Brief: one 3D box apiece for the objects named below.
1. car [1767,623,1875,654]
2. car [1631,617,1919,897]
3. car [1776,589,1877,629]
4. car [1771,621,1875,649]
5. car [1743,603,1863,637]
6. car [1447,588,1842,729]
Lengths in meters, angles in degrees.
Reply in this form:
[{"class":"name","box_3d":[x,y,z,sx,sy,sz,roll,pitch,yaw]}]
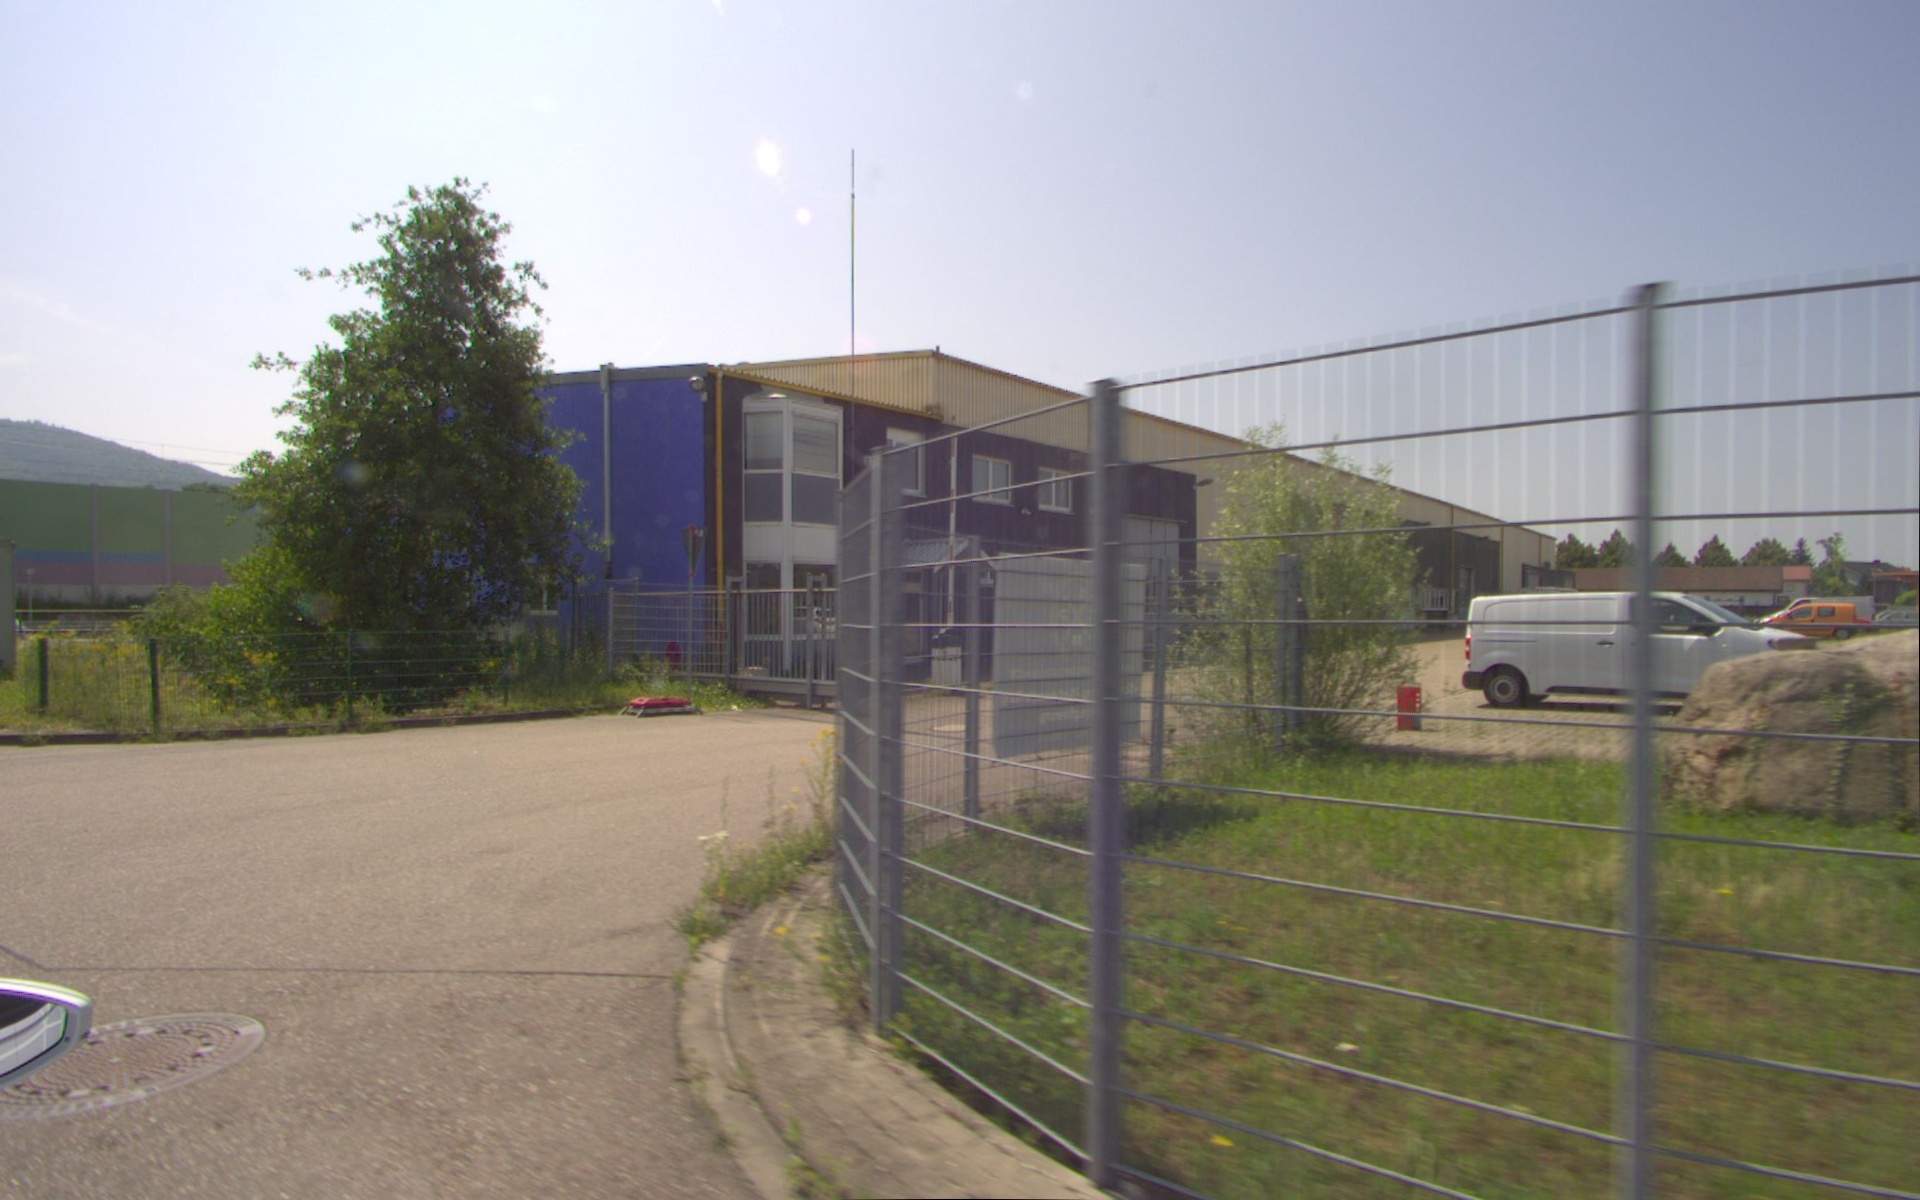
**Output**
[{"class":"car","box_3d":[46.510,2.053,54.155,4.340,1.505,1.957,1,0,42]},{"class":"car","box_3d":[5.955,0.779,6.352,1.873,1.294,3.921,0,0,19]},{"class":"car","box_3d":[50.538,0.524,58.487,4.340,2.200,1.957,1,0,42]},{"class":"car","box_3d":[48.432,1.939,56.252,4.344,1.396,1.825,1,0,45]},{"class":"car","box_3d":[40.802,0.965,48.542,4.340,1.505,1.738,1,0,42]},{"class":"car","box_3d":[10.810,0.849,16.147,1.840,1.924,5.026,0,-1,-44]}]
